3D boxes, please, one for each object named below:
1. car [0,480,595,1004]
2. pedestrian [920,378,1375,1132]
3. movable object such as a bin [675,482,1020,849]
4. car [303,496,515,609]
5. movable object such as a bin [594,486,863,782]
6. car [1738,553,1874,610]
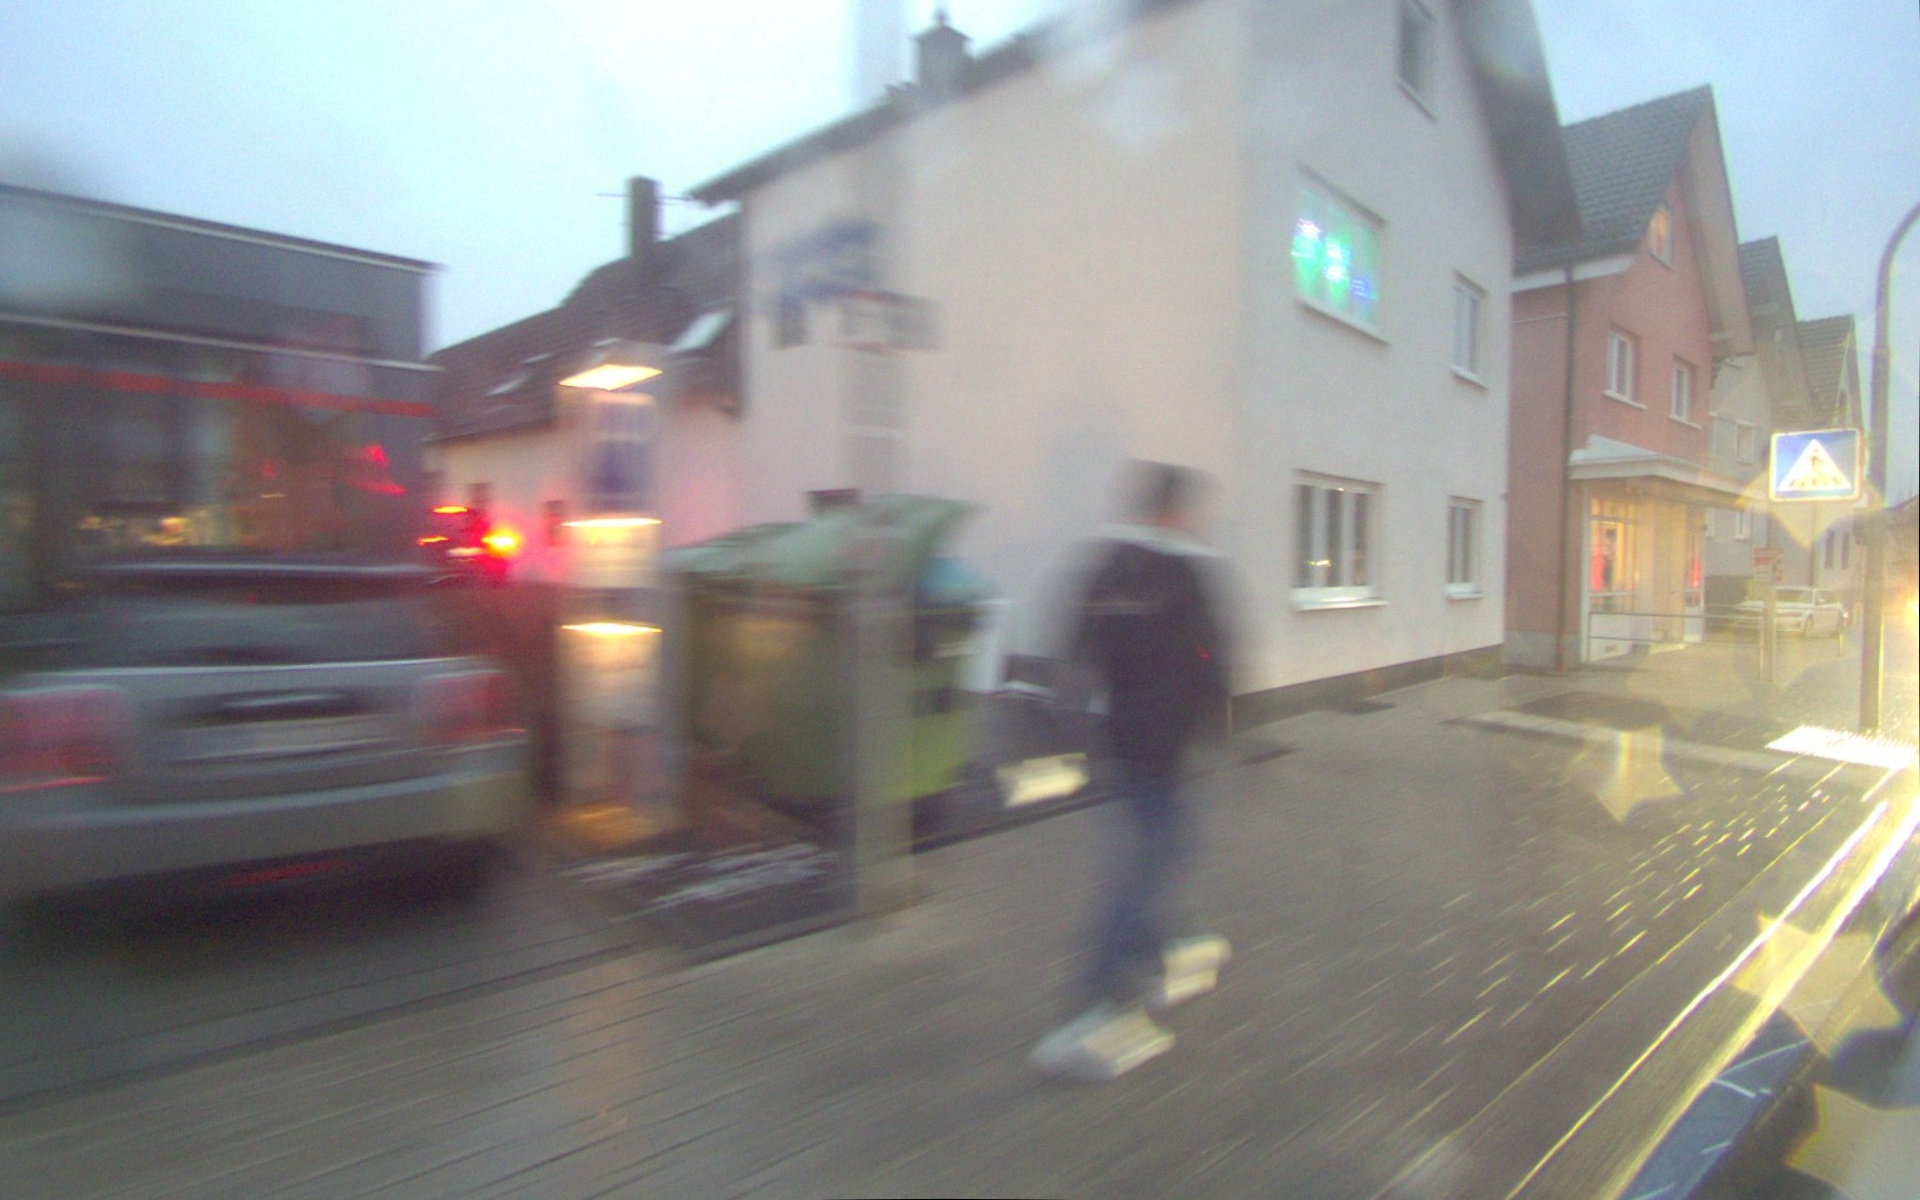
[{"bbox_3d":[-3.408,0.316,4.935,1.878,1.504,3.997,-2,3,-39],"label":"car"},{"bbox_3d":[0.589,0.364,3.239,0.990,1.912,0.967,-1,4,-45],"label":"pedestrian"},{"bbox_3d":[-0.630,0.253,5.511,1.241,1.664,1.394,0,3,-44],"label":"movable object such as a bin"},{"bbox_3d":[-9.464,-0.888,17.277,3.987,1.694,1.970,5,6,42],"label":"car"},{"bbox_3d":[-1.512,0.149,6.554,1.166,1.664,1.286,0,3,-45],"label":"movable object such as a bin"},{"bbox_3d":[24.235,-0.514,28.954,4.608,1.504,1.935,-1,0,-36],"label":"car"}]
